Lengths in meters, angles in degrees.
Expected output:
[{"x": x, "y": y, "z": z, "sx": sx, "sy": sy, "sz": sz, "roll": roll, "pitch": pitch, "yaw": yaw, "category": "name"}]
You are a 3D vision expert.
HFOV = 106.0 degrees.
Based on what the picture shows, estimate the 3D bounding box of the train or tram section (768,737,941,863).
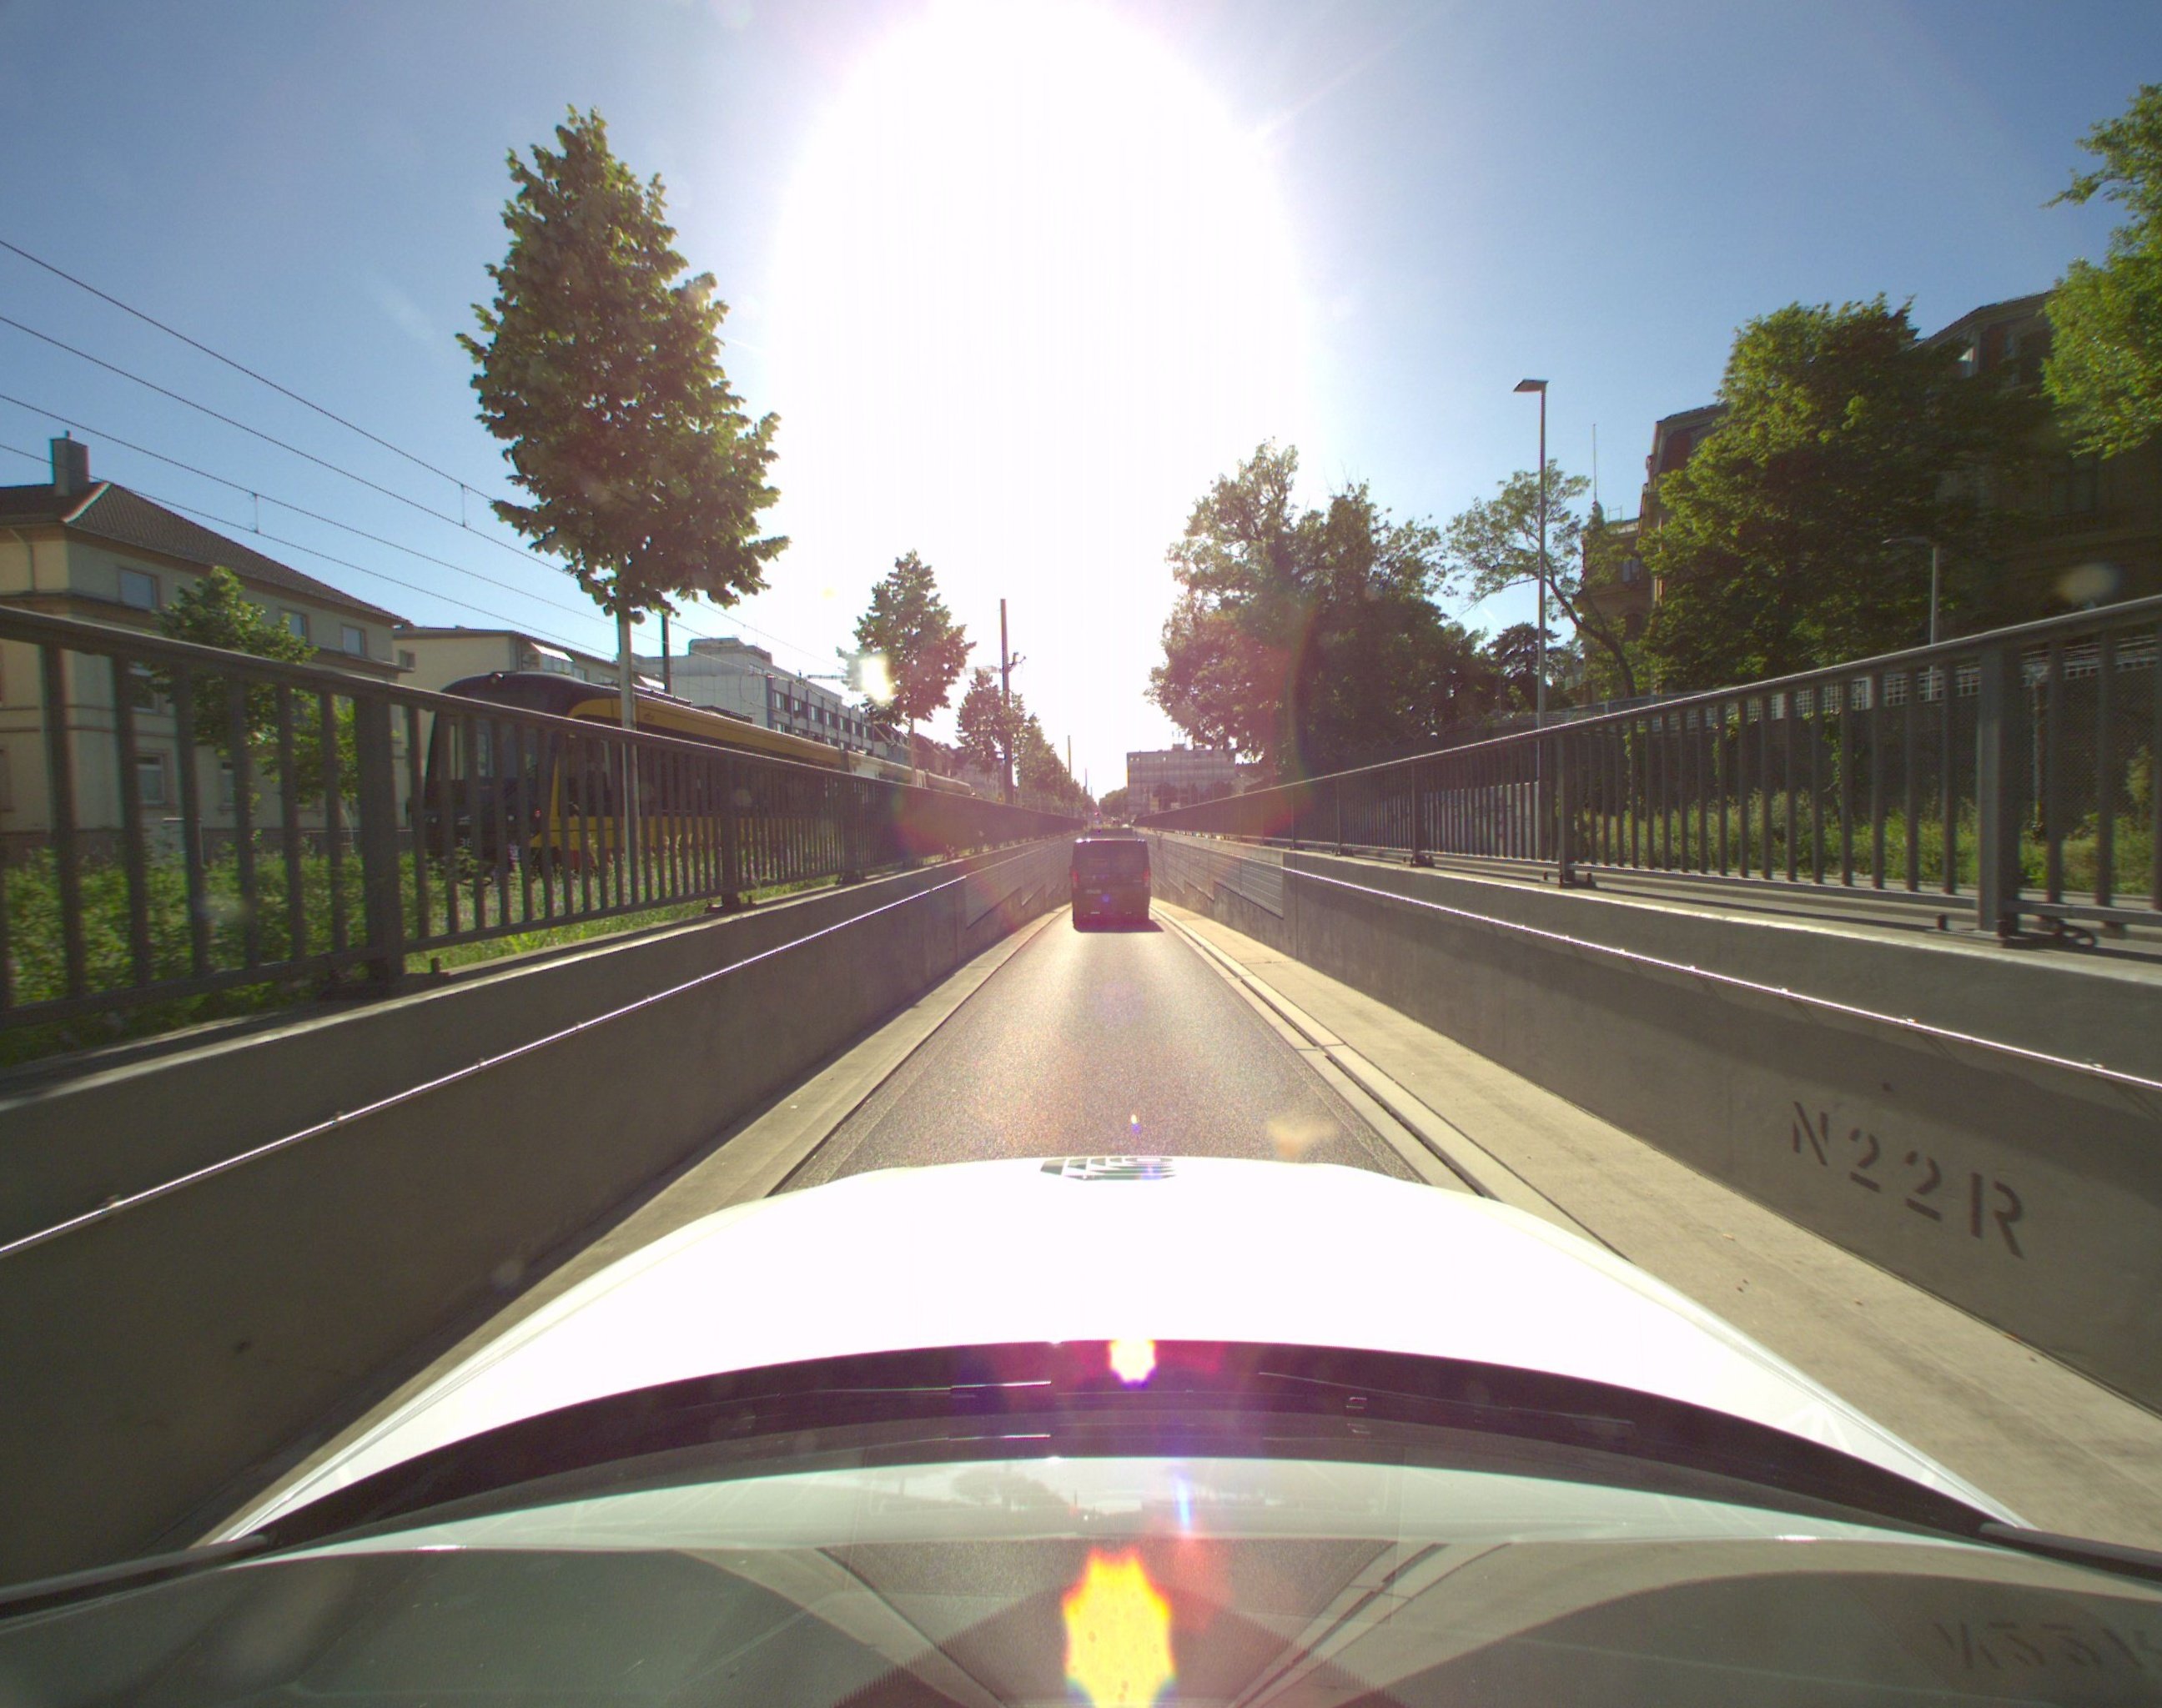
[{"x": -8.033, "y": -1.831, "z": 31.390, "sx": 2.601, "sy": 3.820, "sz": 13.098, "roll": 0, "pitch": 2, "yaw": 2, "category": "train or tram section"}]

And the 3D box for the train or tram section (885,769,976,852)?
[{"x": -7.657, "y": -2.174, "z": 42.914, "sx": 2.602, "sy": 3.853, "sz": 9.977, "roll": 0, "pitch": 2, "yaw": 2, "category": "train or tram section"}]

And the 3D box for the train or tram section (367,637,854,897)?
[{"x": -8.496, "y": -1.405, "z": 18.161, "sx": 2.600, "sy": 3.655, "sz": 13.352, "roll": 0, "pitch": 2, "yaw": 2, "category": "train or tram section"}]

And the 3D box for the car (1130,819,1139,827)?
[{"x": 10.937, "y": -6.364, "z": 167.258, "sx": 1.734, "sy": 1.421, "sz": 4.001, "roll": -1, "pitch": 2, "yaw": 1, "category": "car"}]

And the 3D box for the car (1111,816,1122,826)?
[{"x": 5.843, "y": -5.375, "z": 134.504, "sx": 1.734, "sy": 1.562, "sz": 4.001, "roll": -1, "pitch": 2, "yaw": 1, "category": "car"}]

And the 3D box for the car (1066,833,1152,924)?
[{"x": 0.807, "y": 0.659, "z": 22.835, "sx": 2.150, "sy": 2.266, "sz": 4.639, "roll": -1, "pitch": -1, "yaw": 3, "category": "car"}]

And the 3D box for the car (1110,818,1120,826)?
[{"x": 6.737, "y": -6.390, "z": 162.338, "sx": 1.734, "sy": 1.562, "sz": 4.001, "roll": -1, "pitch": 2, "yaw": 1, "category": "car"}]
